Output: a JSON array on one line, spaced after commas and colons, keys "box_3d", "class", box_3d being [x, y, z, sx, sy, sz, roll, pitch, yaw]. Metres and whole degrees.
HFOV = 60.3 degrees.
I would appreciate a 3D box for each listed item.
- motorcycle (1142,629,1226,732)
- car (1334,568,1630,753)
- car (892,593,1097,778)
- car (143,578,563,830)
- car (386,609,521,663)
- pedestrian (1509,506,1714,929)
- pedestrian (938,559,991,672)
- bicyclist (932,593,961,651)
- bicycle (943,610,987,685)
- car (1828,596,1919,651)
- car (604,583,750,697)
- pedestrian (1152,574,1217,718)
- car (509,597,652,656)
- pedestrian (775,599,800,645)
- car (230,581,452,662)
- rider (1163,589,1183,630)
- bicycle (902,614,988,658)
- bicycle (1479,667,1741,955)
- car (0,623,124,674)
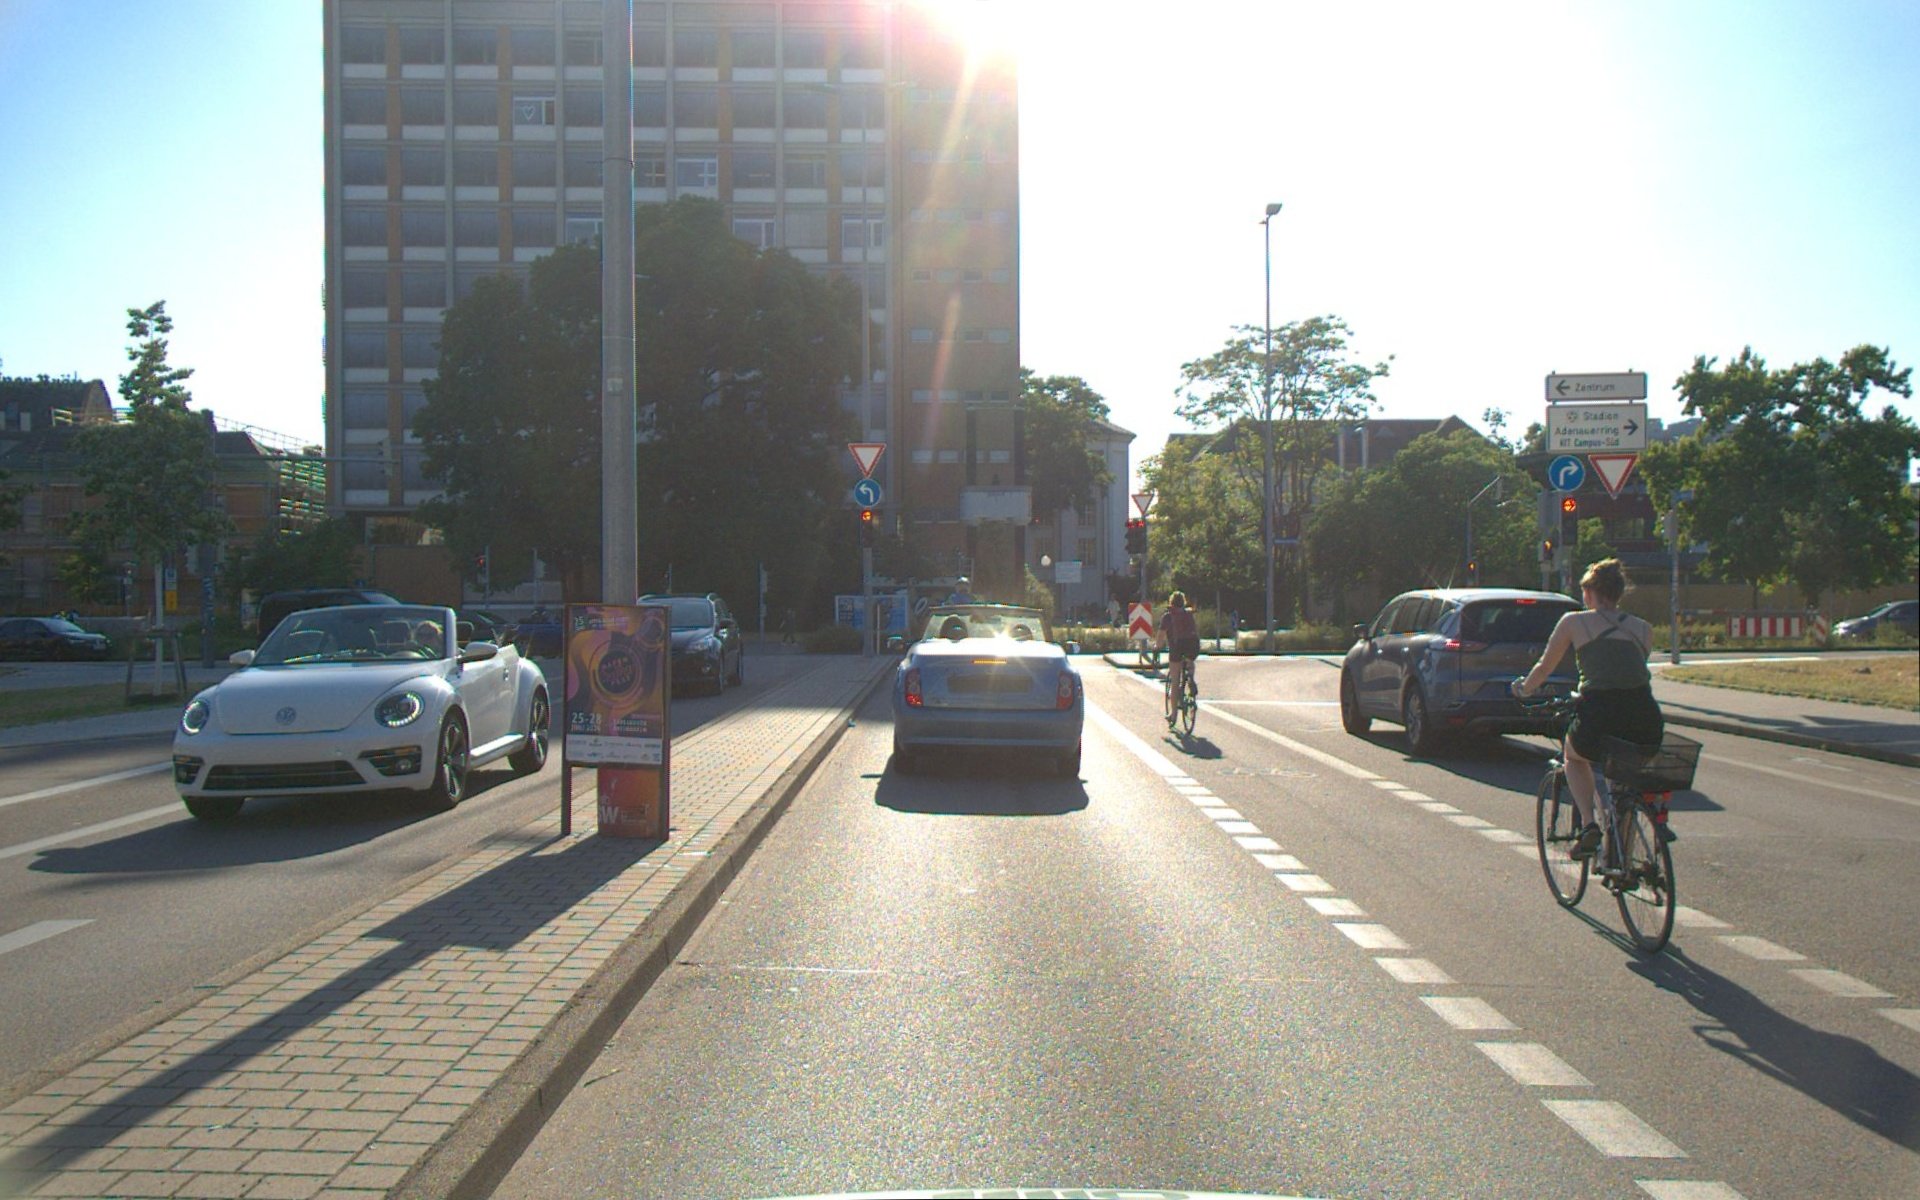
[{"box_3d": [2.594, 0.907, 19.400, 0.601, 1.117, 2.359, 1, -1, -1], "class": "motorcycle"}, {"box_3d": [5.440, 0.612, 17.843, 1.794, 1.719, 4.368, 1, -1, 0], "class": "car"}, {"box_3d": [0.204, 0.727, 15.412, 1.627, 1.466, 4.152, 1, -1, -2], "class": "car"}, {"box_3d": [-4.356, 0.662, 12.569, 1.763, 1.557, 3.999, -1, 0, -2], "class": "car"}, {"box_3d": [-15.369, 1.088, 50.252, 3.561, 1.588, 1.601, -1, 0, 5], "class": "car"}, {"box_3d": [3.100, 0.535, 7.933, 0.645, 1.902, 0.872, 1, -1, 2], "class": "pedestrian"}, {"box_3d": [0.086, 0.268, 28.348, 0.816, 1.902, 0.921, 1, -1, 4], "class": "pedestrian"}, {"box_3d": [-0.378, 0.634, 47.031, 0.735, 1.626, 0.590, 1, -1, 6], "class": "bicyclist"}, {"box_3d": [0.104, 0.806, 28.460, 0.595, 1.212, 2.415, 1, -1, 3], "class": "bicycle"}, {"box_3d": [27.870, 0.672, 48.890, 3.560, 1.588, 1.651, -1, 0, 9], "class": "car"}, {"box_3d": [-4.252, 0.560, 25.355, 1.764, 1.557, 3.997, -1, 0, -4], "class": "car"}, {"box_3d": [2.615, 0.530, 19.361, 0.576, 1.626, 1.024, 1, -1, -2], "class": "pedestrian"}, {"box_3d": [-10.685, 0.734, 46.620, 3.560, 1.588, 1.651, -1, 0, 9], "class": "car"}, {"box_3d": [-7.270, 0.926, 69.776, 0.851, 1.902, 0.661, 1, -1, 11], "class": "pedestrian"}, {"box_3d": [-15.867, 0.552, 42.444, 5.044, 1.927, 2.247, -2, 0, 19], "class": "car"}, {"box_3d": [8.582, 0.388, 66.774, 0.735, 1.626, 0.590, 1, -1, 11], "class": "rider"}, {"box_3d": [-0.418, 1.025, 47.021, 2.355, 1.212, 0.610, 1, -1, 6], "class": "bicycle"}, {"box_3d": [3.079, 0.939, 8.030, 0.552, 1.171, 1.950, 1, -1, 2], "class": "bicycle"}, {"box_3d": [-29.649, 1.585, 54.341, 3.512, 1.588, 1.651, -1, 0, 5], "class": "car"}]
